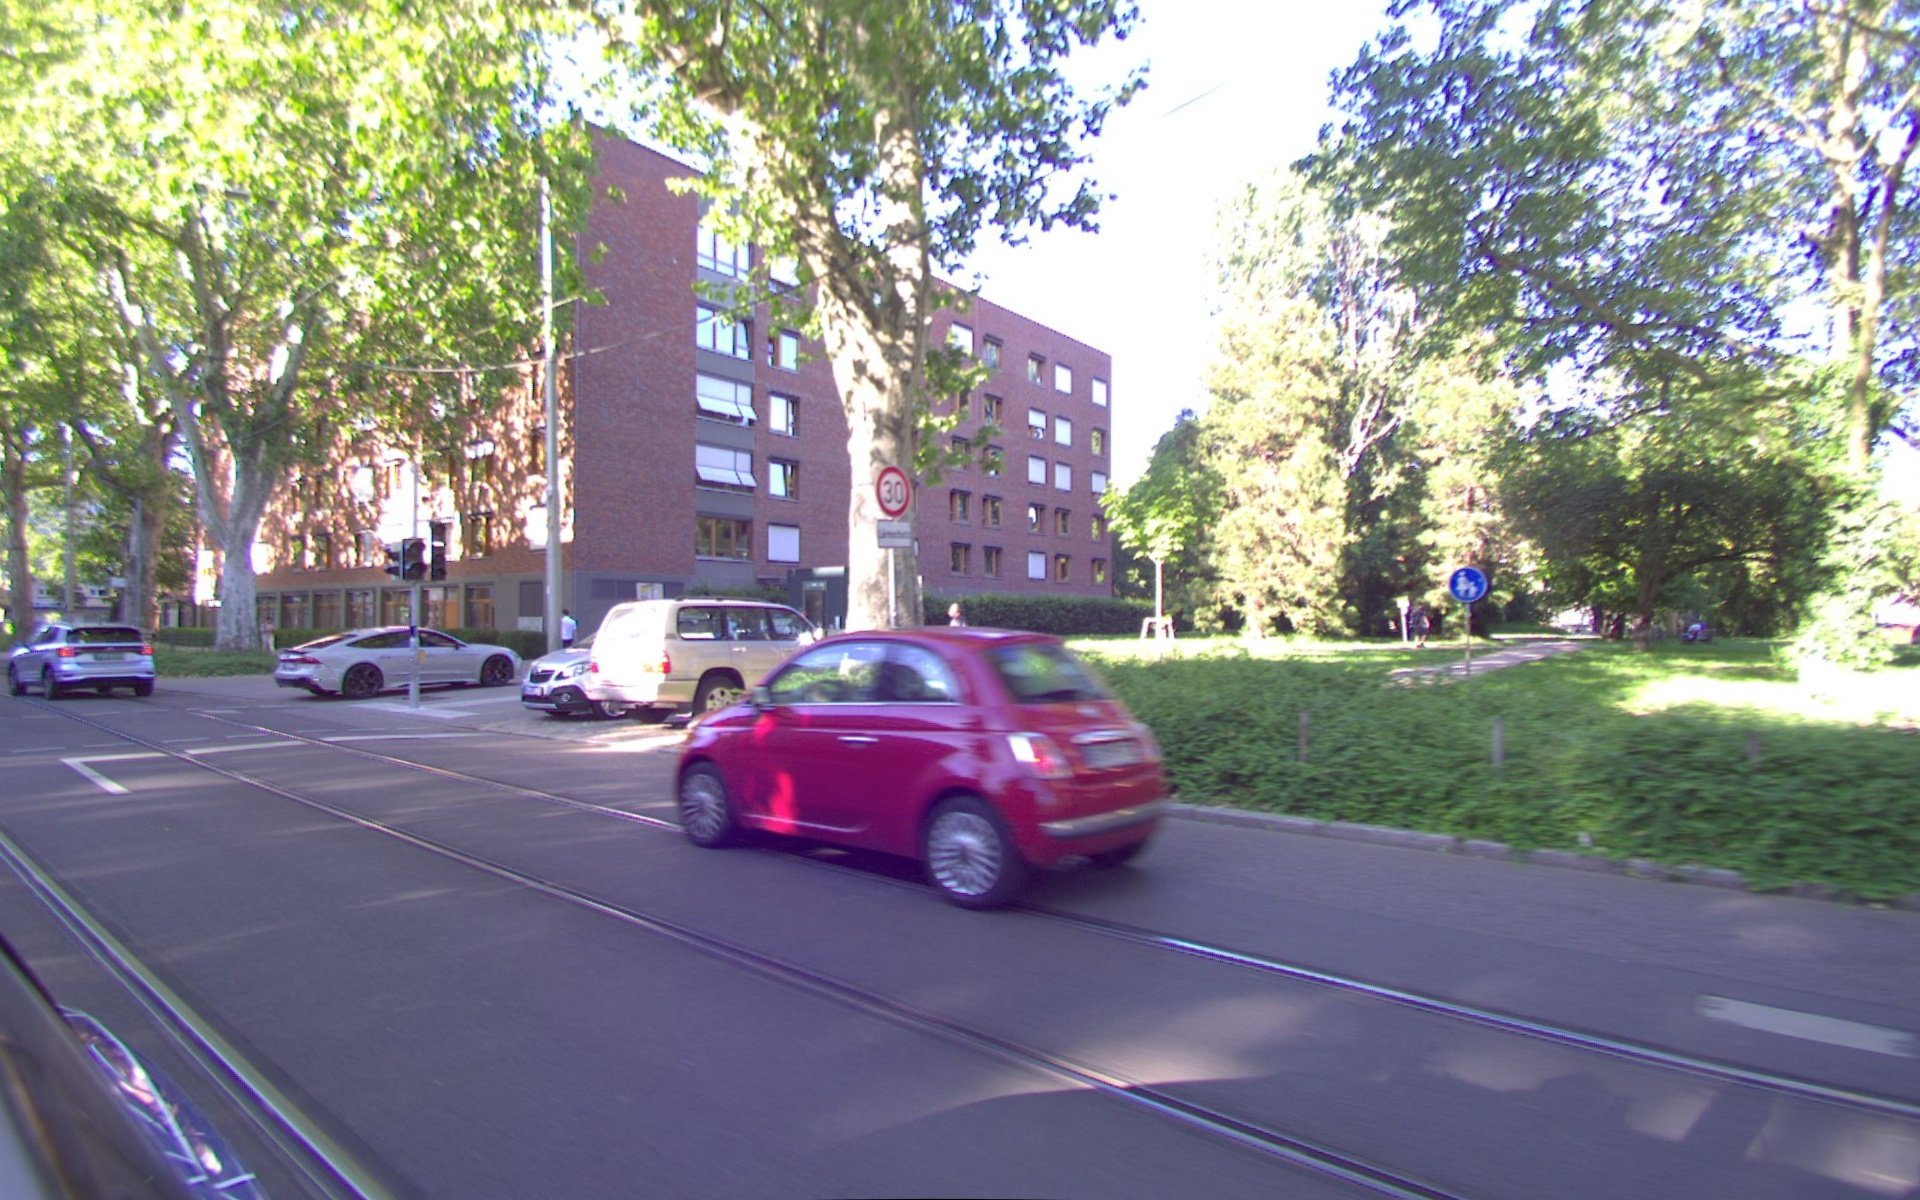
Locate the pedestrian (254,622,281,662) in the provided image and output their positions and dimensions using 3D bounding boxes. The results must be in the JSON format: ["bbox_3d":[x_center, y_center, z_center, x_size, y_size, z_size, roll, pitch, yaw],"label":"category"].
[{"bbox_3d":[-30.655,1.844,44.799,0.971,1.757,0.756,-1,-1,38],"label":"pedestrian"}]

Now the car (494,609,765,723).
[{"bbox_3d":[-5.533,1.015,17.371,1.899,1.659,4.102,-1,0,36],"label":"car"}]

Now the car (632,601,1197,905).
[{"bbox_3d":[-0.416,0.770,6.591,3.469,1.455,1.644,-1,-2,39],"label":"car"}]

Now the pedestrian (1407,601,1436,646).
[{"bbox_3d":[17.690,0.897,38.798,0.766,1.686,0.713,0,-1,-36],"label":"pedestrian"}]

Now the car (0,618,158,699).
[{"bbox_3d":[-18.897,1.200,21.655,4.110,1.580,1.798,-1,-3,38],"label":"car"}]

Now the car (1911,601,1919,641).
[{"bbox_3d":[49.932,1.084,50.918,1.993,2.029,4.696,-1,0,31],"label":"car"}]

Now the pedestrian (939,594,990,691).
[{"bbox_3d":[0.088,0.807,19.602,0.752,1.823,0.637,-1,-1,43],"label":"pedestrian"}]

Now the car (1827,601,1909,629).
[{"bbox_3d":[75.798,1.269,84.572,4.730,2.261,1.978,-1,-1,33],"label":"car"}]

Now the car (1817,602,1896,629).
[{"bbox_3d":[76.808,1.354,86.817,4.730,2.261,1.978,-1,-1,33],"label":"car"}]

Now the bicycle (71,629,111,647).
[{"bbox_3d":[-61.226,2.649,71.301,2.067,1.198,0.883,0,-1,-36],"label":"bicycle"}]

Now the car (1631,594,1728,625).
[{"bbox_3d":[38.895,0.515,54.754,4.105,1.630,1.870,-1,-1,43],"label":"car"}]

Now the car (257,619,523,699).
[{"bbox_3d":[-12.307,1.196,22.152,1.951,1.471,4.721,-1,0,36],"label":"car"}]

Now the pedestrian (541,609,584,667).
[{"bbox_3d":[-12.246,1.155,31.189,0.913,1.750,0.836,-1,-1,33],"label":"pedestrian"}]

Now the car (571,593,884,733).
[{"bbox_3d":[-3.435,0.832,15.728,1.936,1.848,4.526,-1,-1,39],"label":"car"}]

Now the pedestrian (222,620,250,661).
[{"bbox_3d":[-30.336,1.688,42.400,0.968,1.685,0.731,-1,-1,39],"label":"pedestrian"}]
